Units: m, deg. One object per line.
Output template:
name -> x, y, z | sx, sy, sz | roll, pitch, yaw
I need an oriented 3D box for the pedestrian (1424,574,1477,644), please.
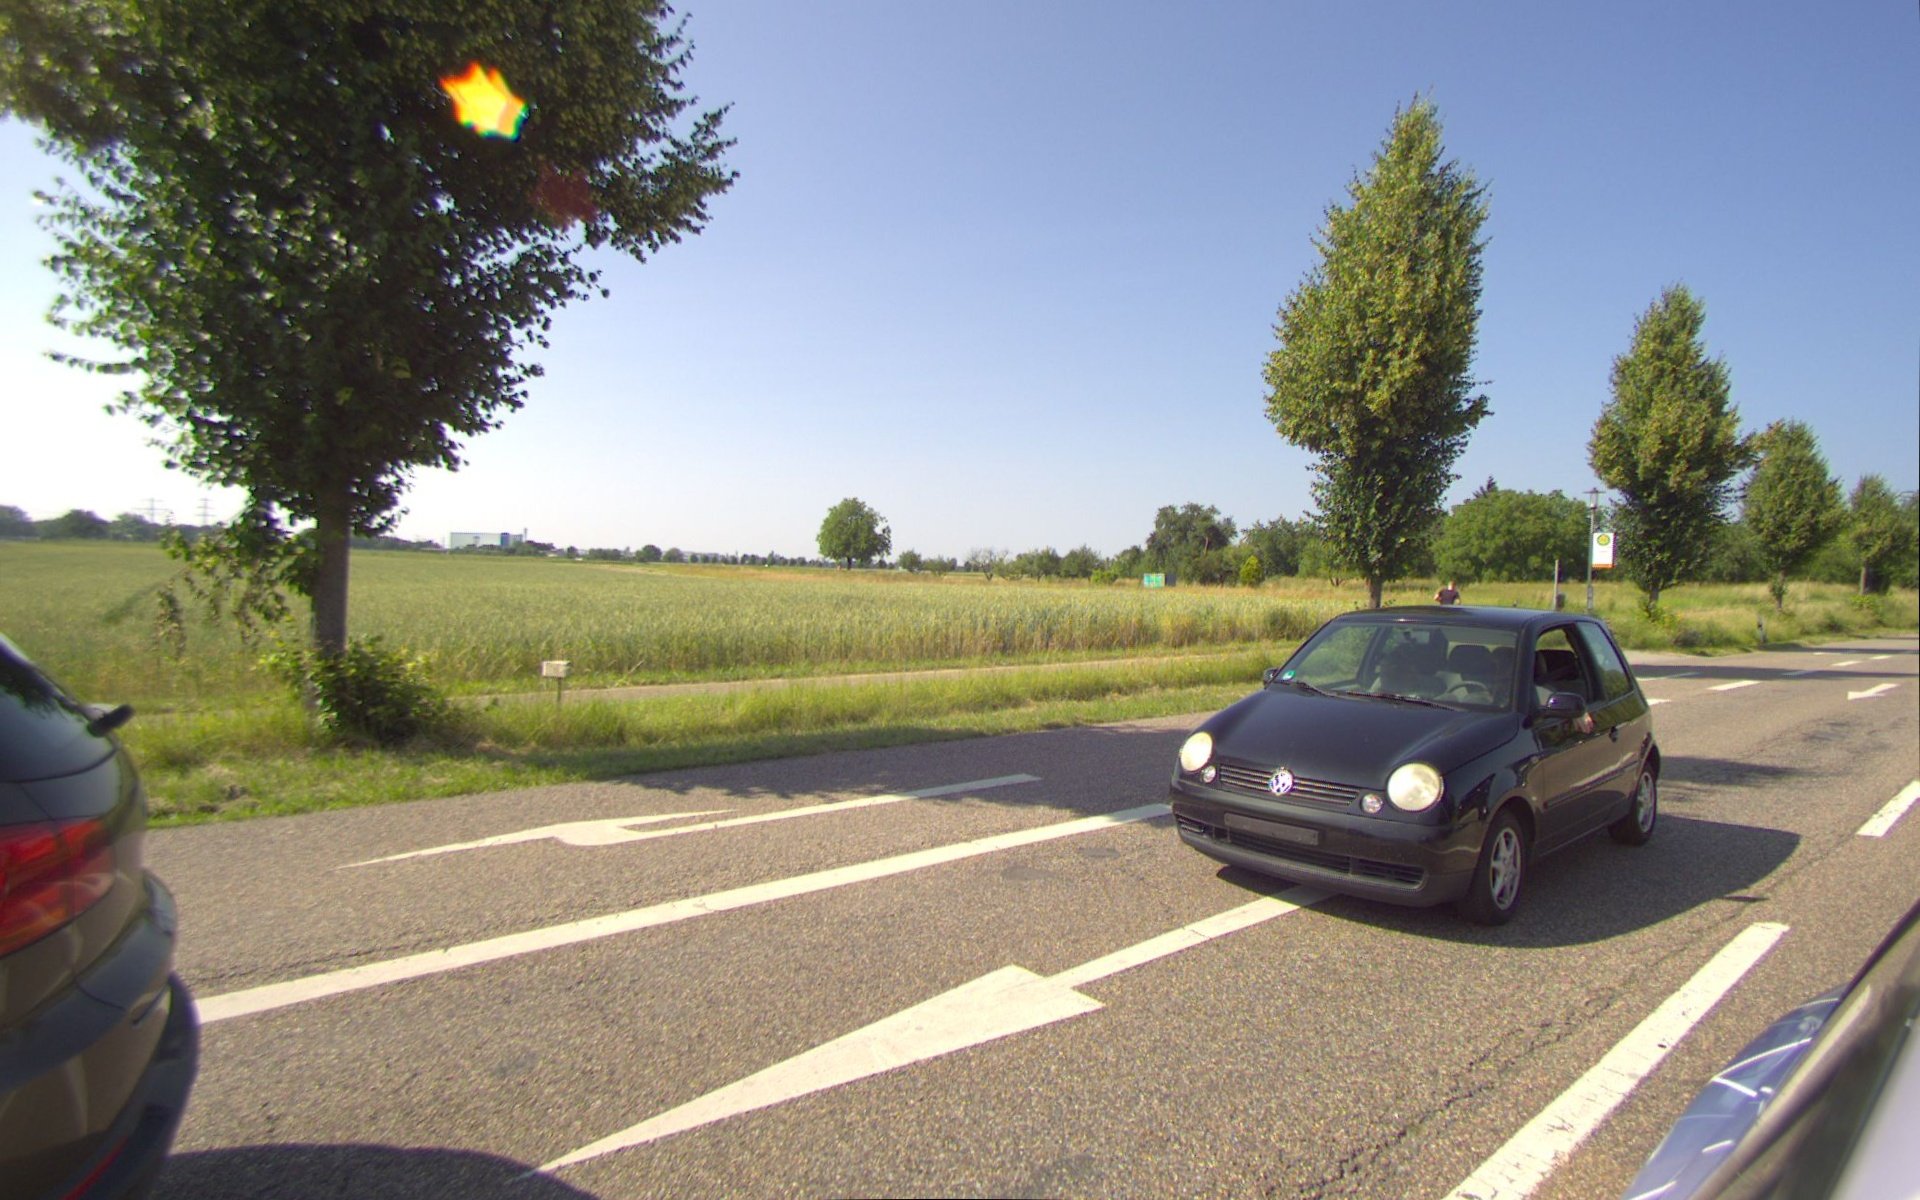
pedestrian -> 13.513, 0.222, 27.895 | 1.174, 1.862, 0.903 | 1, 1, -43

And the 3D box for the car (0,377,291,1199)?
car -> -3.103, 0.548, 0.830 | 4.074, 1.676, 1.758 | 0, 0, -42

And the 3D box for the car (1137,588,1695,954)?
car -> 2.782, 0.673, 5.825 | 3.560, 1.451, 1.628 | 0, 0, -42
